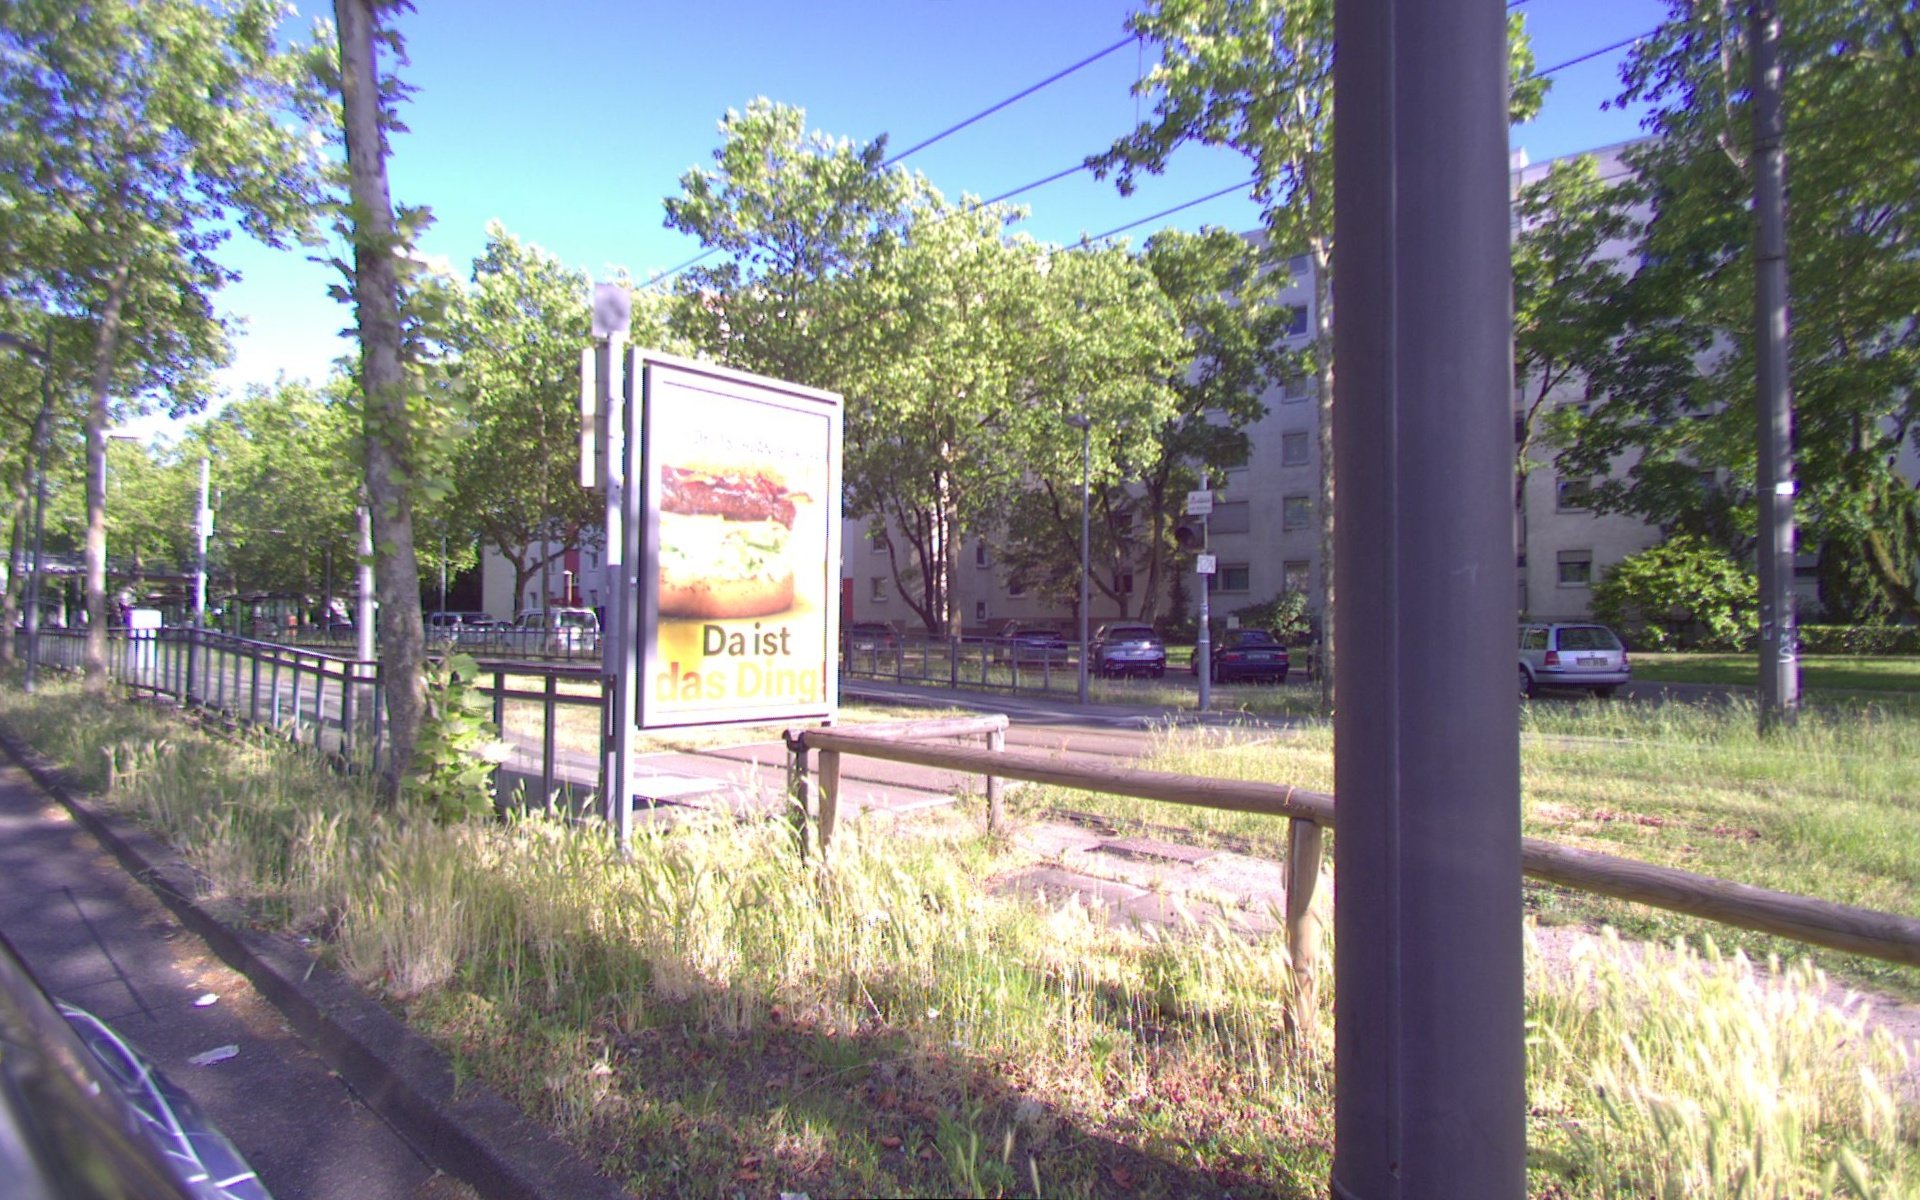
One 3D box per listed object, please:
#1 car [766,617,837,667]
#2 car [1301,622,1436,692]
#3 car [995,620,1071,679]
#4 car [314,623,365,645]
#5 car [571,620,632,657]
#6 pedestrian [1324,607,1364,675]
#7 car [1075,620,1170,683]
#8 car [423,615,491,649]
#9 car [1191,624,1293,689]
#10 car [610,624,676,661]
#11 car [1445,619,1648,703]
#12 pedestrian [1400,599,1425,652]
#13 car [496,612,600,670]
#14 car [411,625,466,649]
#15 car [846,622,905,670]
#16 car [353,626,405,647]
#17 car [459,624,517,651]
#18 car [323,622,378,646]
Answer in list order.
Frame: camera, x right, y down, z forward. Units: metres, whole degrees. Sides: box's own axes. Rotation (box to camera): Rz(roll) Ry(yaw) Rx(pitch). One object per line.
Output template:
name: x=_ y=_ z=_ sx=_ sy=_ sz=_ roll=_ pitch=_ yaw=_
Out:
car: x=-5.724 y=1.483 z=36.991 sx=1.791 sy=1.607 sz=3.997 roll=-1 pitch=0 yaw=3
car: x=9.310 y=1.256 z=23.385 sx=1.553 sy=1.431 sz=3.620 roll=-1 pitch=-1 yaw=-1
car: x=2.062 y=1.388 z=29.638 sx=1.669 sy=1.499 sz=4.003 roll=-1 pitch=0 yaw=-4
car: x=-44.510 y=2.428 z=72.654 sx=1.578 sy=1.538 sz=3.737 roll=0 pitch=-1 yaw=-3
car: x=-16.424 y=1.743 z=46.486 sx=1.445 sy=1.519 sz=3.393 roll=-1 pitch=0 yaw=3
pedestrian: x=10.249 y=1.080 z=27.021 sx=0.755 sy=1.770 sz=0.752 roll=-2 pitch=-2 yaw=41
car: x=4.326 y=1.349 z=27.563 sx=1.650 sy=1.469 sz=4.004 roll=-1 pitch=0 yaw=-4
car: x=-28.308 y=1.784 z=57.092 sx=1.843 sy=1.826 sz=4.048 roll=0 pitch=-1 yaw=-1
car: x=6.926 y=1.335 z=25.187 sx=1.572 sy=1.360 sz=3.922 roll=-1 pitch=0 yaw=3
car: x=-13.814 y=1.810 z=44.294 sx=1.470 sy=1.425 sz=3.880 roll=-1 pitch=0 yaw=3
car: x=11.710 y=1.161 z=20.537 sx=1.685 sy=1.454 sz=3.978 roll=-1 pitch=0 yaw=-2
pedestrian: x=15.137 y=0.844 z=33.827 sx=0.634 sy=1.770 sz=0.516 roll=-1 pitch=-2 yaw=39
car: x=-15.279 y=1.467 z=37.430 sx=4.652 sy=2.007 sz=1.772 roll=-2 pitch=-2 yaw=43
car: x=-30.483 y=2.131 z=59.260 sx=1.459 sy=1.354 sz=3.488 roll=0 pitch=-1 yaw=-1
car: x=-2.830 y=1.536 z=34.624 sx=1.538 sy=1.439 sz=3.761 roll=-1 pitch=0 yaw=3
car: x=-37.700 y=2.361 z=65.738 sx=1.459 sy=1.330 sz=3.488 roll=0 pitch=-1 yaw=-1
car: x=-25.745 y=2.013 z=55.308 sx=1.605 sy=1.414 sz=3.488 roll=0 pitch=-1 yaw=-1
car: x=-40.784 y=2.269 z=67.835 sx=1.578 sy=1.582 sz=3.830 roll=0 pitch=-1 yaw=-3
